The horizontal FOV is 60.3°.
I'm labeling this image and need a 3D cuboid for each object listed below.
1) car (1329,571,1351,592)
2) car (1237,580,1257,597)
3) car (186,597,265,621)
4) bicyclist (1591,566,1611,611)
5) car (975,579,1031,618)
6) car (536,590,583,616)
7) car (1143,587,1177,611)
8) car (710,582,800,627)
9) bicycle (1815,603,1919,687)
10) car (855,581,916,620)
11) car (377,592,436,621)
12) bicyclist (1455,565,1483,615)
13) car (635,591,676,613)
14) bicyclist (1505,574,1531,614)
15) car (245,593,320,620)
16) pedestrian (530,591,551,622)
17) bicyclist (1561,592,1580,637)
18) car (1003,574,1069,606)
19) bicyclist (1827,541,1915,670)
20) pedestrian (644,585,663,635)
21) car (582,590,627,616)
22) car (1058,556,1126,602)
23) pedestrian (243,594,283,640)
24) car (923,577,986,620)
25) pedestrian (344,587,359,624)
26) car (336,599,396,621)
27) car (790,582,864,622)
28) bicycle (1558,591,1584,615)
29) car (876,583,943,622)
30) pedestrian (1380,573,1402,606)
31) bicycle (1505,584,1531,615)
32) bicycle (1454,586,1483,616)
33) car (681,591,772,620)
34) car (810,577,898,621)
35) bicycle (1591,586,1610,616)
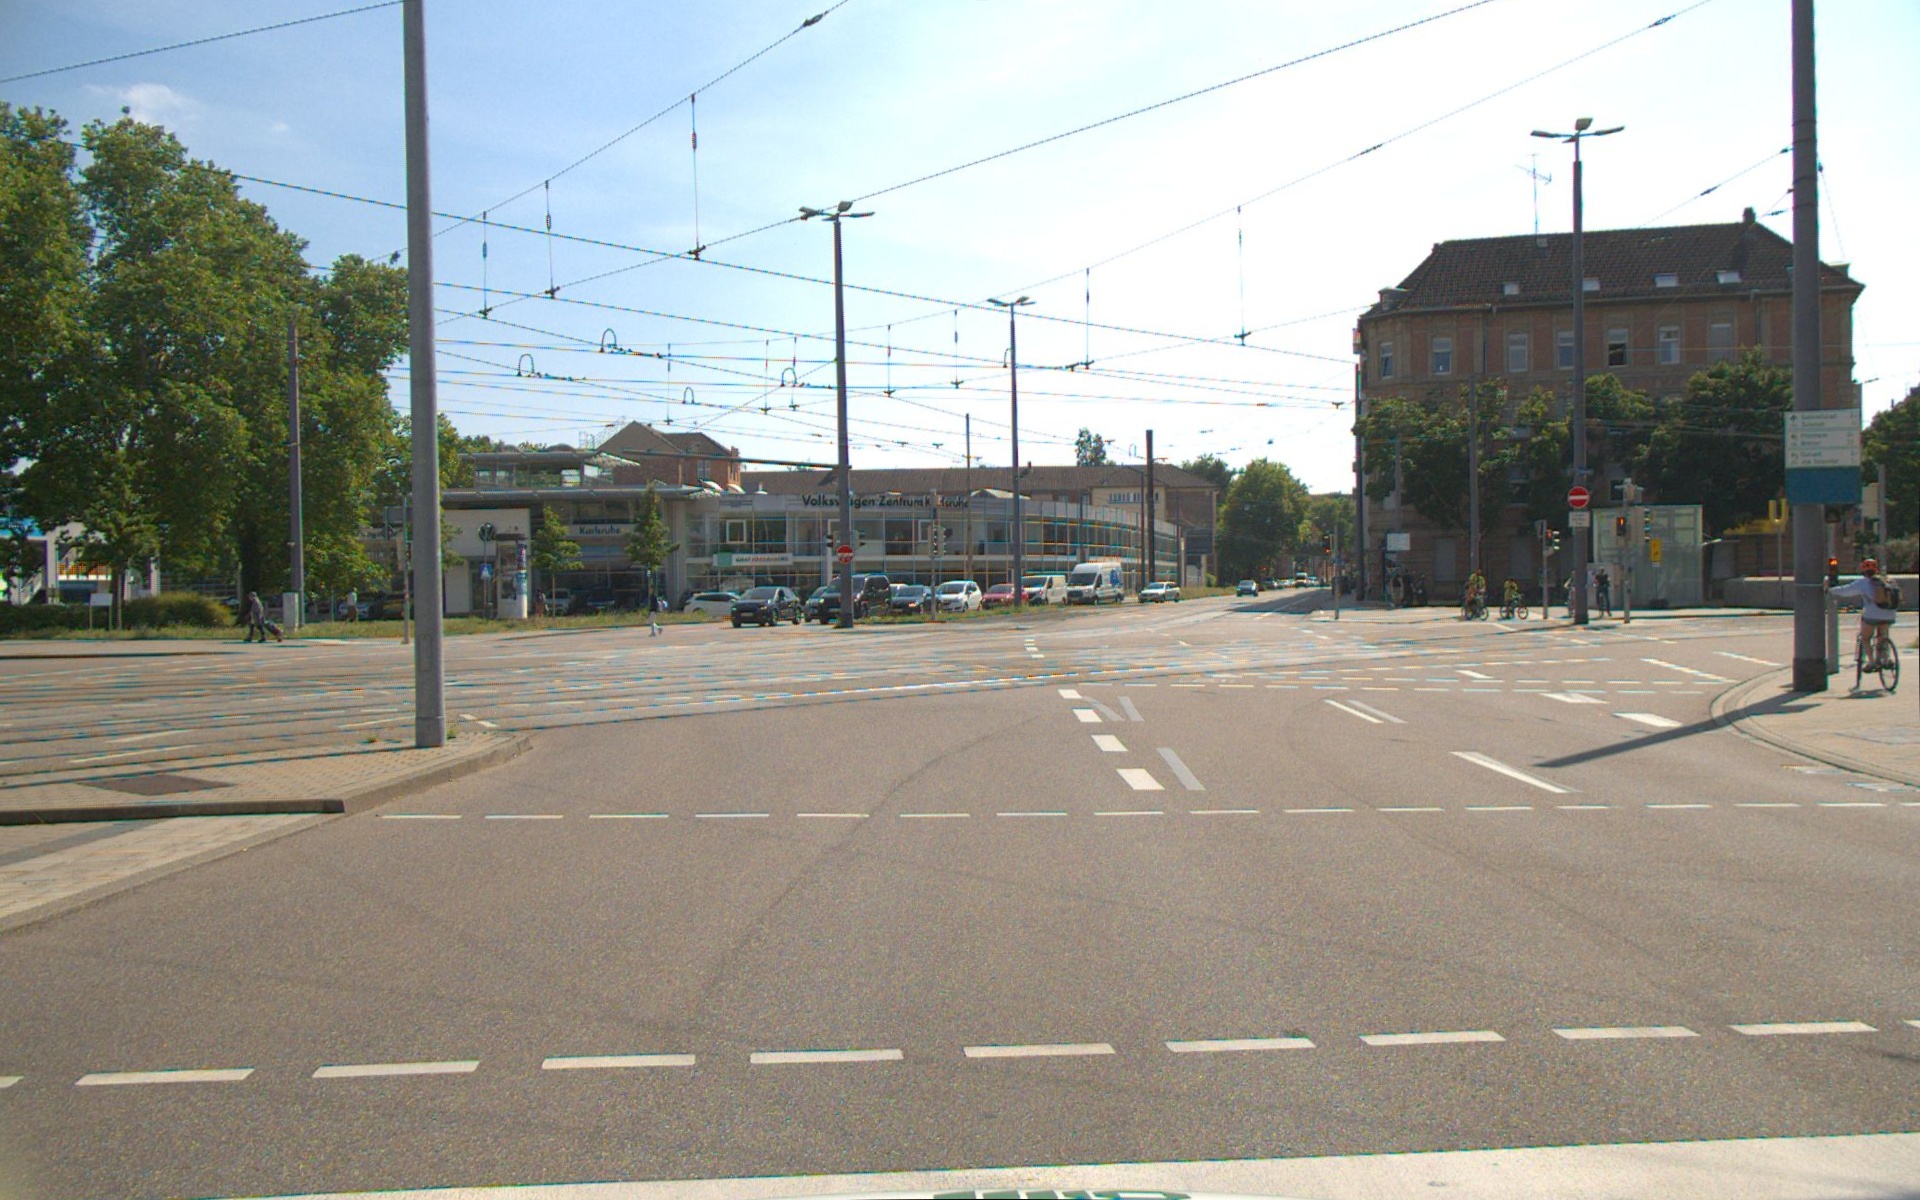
[{"bbox_3d":[38.150,-1.855,165.904,2.063,2.049,4.004,-1,0,13],"label":"car"},{"bbox_3d":[26.045,-1.016,149.907,1.355,1.439,3.013,1,0,18],"label":"car"},{"bbox_3d":[-44.868,0.533,101.088,3.906,1.395,1.999,1,0,-1],"label":"car"},{"bbox_3d":[23.842,-0.422,61.541,0.653,1.652,0.782,1,1,22],"label":"bicyclist"},{"bbox_3d":[2.261,-0.060,85.361,1.854,1.950,4.203,-1,-1,16],"label":"car"},{"bbox_3d":[-24.192,0.197,100.014,1.953,1.512,3.998,1,0,-2],"label":"car"},{"bbox_3d":[14.039,-0.071,115.960,1.357,1.653,3.336,1,0,26],"label":"car"},{"bbox_3d":[-7.756,0.203,62.900,1.851,1.615,4.213,-1,-1,16],"label":"car"},{"bbox_3d":[12.501,0.592,22.663,0.699,1.033,2.022,-3,0,7],"label":"bicycle"},{"bbox_3d":[-3.468,0.051,77.701,1.616,1.769,4.203,-1,-1,16],"label":"car"},{"bbox_3d":[-33.679,0.407,100.706,1.951,1.713,4.002,1,0,4],"label":"car"},{"bbox_3d":[19.159,-0.361,62.244,0.907,1.852,1.052,1,-1,20],"label":"bicyclist"},{"bbox_3d":[-18.334,0.120,99.686,1.793,1.216,3.998,1,0,-2],"label":"car"},{"bbox_3d":[20.992,-0.226,62.219,0.907,1.477,1.252,1,1,18],"label":"bicyclist"},{"bbox_3d":[-42.651,0.415,104.165,3.907,1.579,1.999,-1,0,-3],"label":"car"},{"bbox_3d":[-21.807,0.326,86.007,0.934,1.607,0.534,1,-1,-4],"label":"pedestrian"},{"bbox_3d":[22.833,0.534,61.850,0.489,1.649,0.650,1,0,4],"label":"bicyclist"},{"bbox_3d":[4.305,-0.588,92.371,2.140,1.710,5.029,-1,0,22],"label":"car"},{"bbox_3d":[12.465,0.071,22.656,0.699,1.698,0.875,-3,0,7],"label":"bicyclist"},{"bbox_3d":[-10.040,0.328,54.125,0.449,1.633,0.395,1,-1,-37],"label":"pedestrian"},{"bbox_3d":[-21.464,0.189,100.027,1.953,1.512,3.998,1,0,-2],"label":"car"},{"bbox_3d":[8.001,-1.238,99.838,2.165,2.620,5.870,1,0,25],"label":"car"},{"bbox_3d":[-21.752,0.524,51.628,1.098,1.428,0.652,1,-1,-23],"label":"pedestrian"},{"bbox_3d":[-0.235,-0.038,78.426,1.854,1.950,4.203,-1,-1,16],"label":"car"},{"bbox_3d":[-26.931,0.228,73.258,0.384,1.624,0.464,1,-1,23],"label":"pedestrian"},{"bbox_3d":[-35.987,0.588,100.275,1.951,1.266,4.002,1,0,4],"label":"car"},{"bbox_3d":[-5.640,0.101,70.700,1.854,1.615,4.002,-1,-1,16],"label":"car"},{"bbox_3d":[22.836,0.098,61.800,0.489,0.881,1.588,1,1,4],"label":"bicycle"},{"bbox_3d":[-2.147,0.122,71.104,1.854,1.615,4.003,-1,-1,13],"label":"car"},{"bbox_3d":[19.059,-0.455,73.109,0.608,1.458,0.703,1,-1,-38],"label":"pedestrian"},{"bbox_3d":[21.055,-0.031,62.423,0.907,1.088,2.842,1,1,18],"label":"bicycle"},{"bbox_3d":[19.188,0.031,62.342,0.907,1.088,2.747,1,0,20],"label":"bicycle"},{"bbox_3d":[-12.320,0.300,87.284,4.486,1.461,1.445,1,0,12],"label":"car"},{"bbox_3d":[-4.078,-0.057,64.551,1.919,1.615,4.719,-1,1,16],"label":"car"},{"bbox_3d":[23.892,0.033,61.678,0.653,1.088,2.463,1,1,22],"label":"bicycle"}]
